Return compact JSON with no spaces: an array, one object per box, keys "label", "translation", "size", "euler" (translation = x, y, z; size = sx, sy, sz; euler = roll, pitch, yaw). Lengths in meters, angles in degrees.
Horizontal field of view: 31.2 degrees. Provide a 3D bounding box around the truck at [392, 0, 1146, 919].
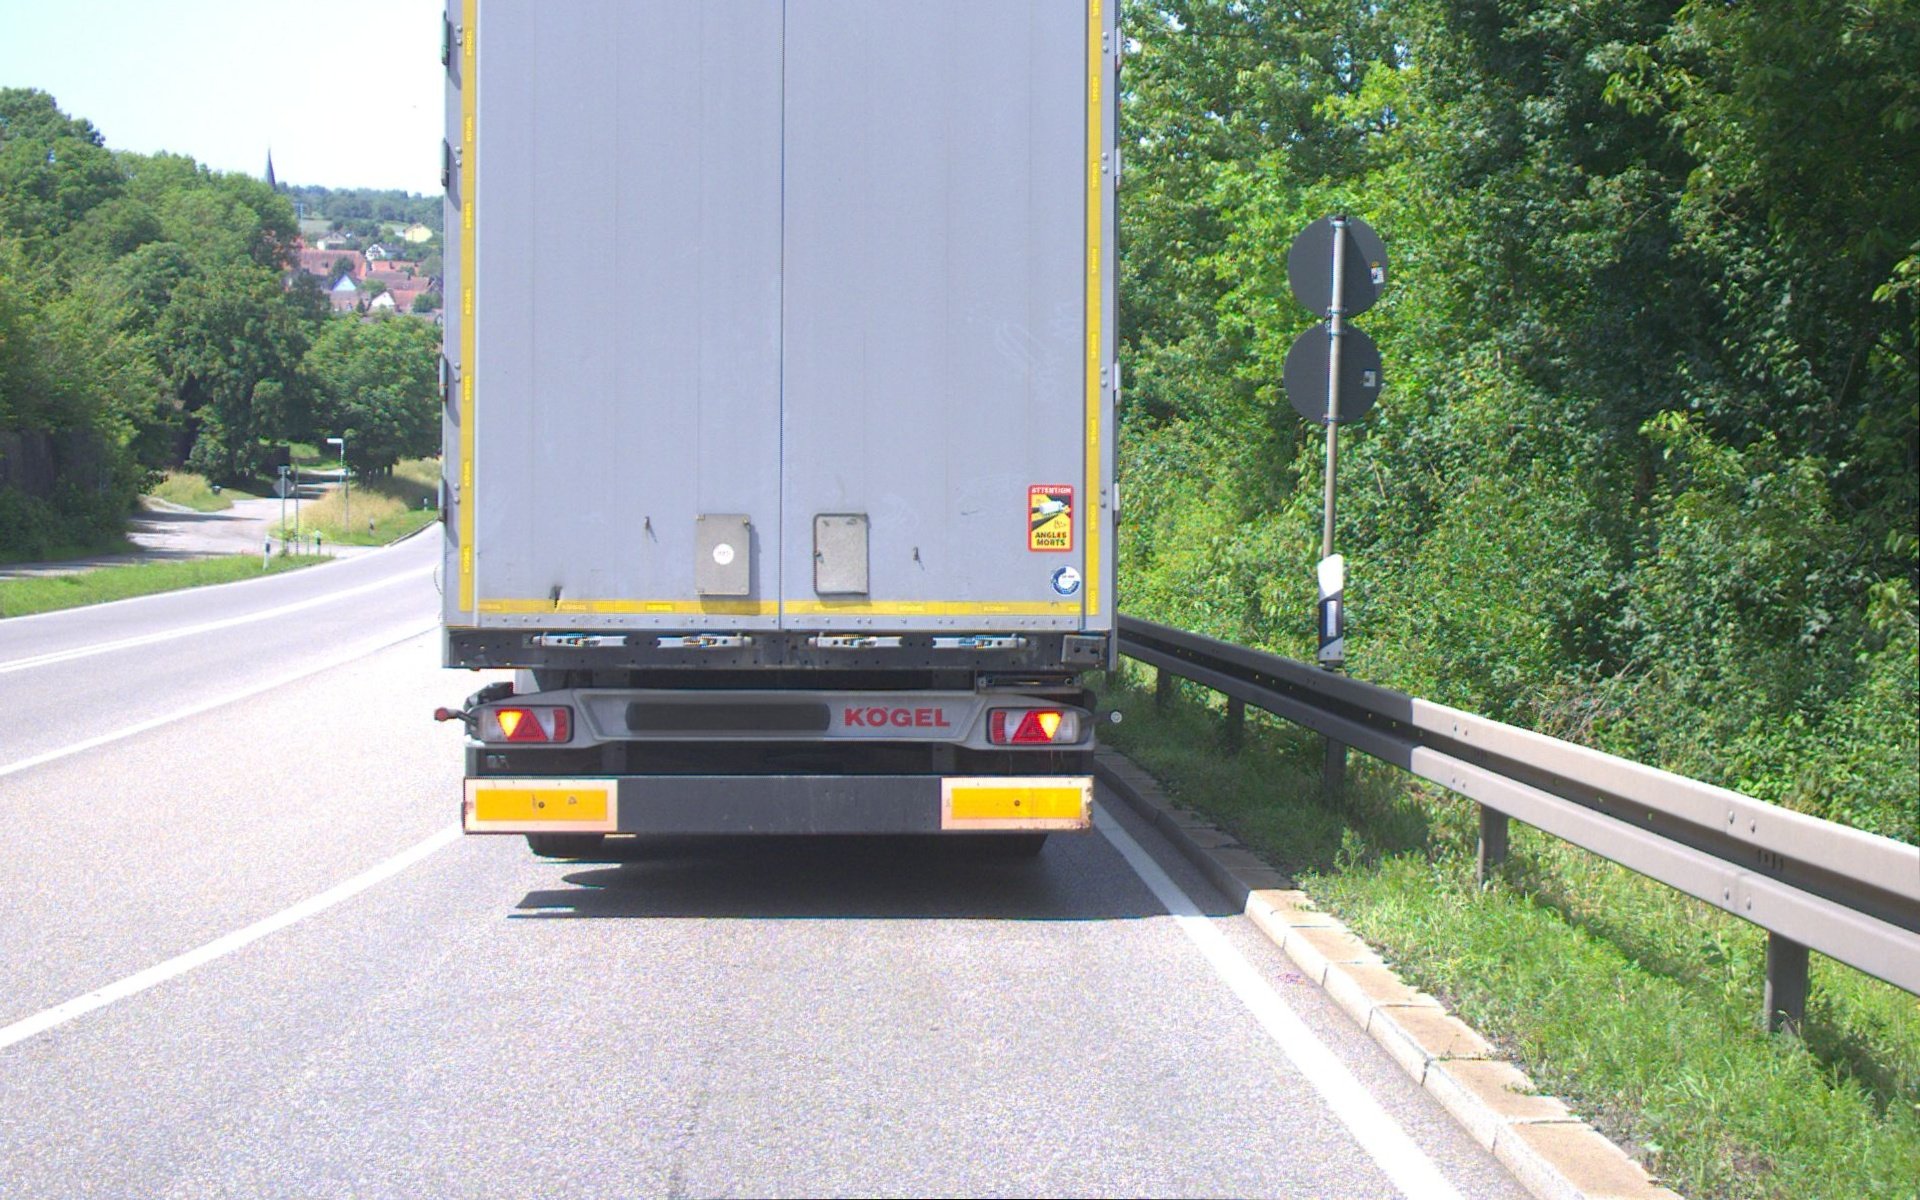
[{"label":"truck","translation":[-0.772,-0.977,18.650],"size":[2.757,4.016,11.925],"euler":[0,1,-1]}]
